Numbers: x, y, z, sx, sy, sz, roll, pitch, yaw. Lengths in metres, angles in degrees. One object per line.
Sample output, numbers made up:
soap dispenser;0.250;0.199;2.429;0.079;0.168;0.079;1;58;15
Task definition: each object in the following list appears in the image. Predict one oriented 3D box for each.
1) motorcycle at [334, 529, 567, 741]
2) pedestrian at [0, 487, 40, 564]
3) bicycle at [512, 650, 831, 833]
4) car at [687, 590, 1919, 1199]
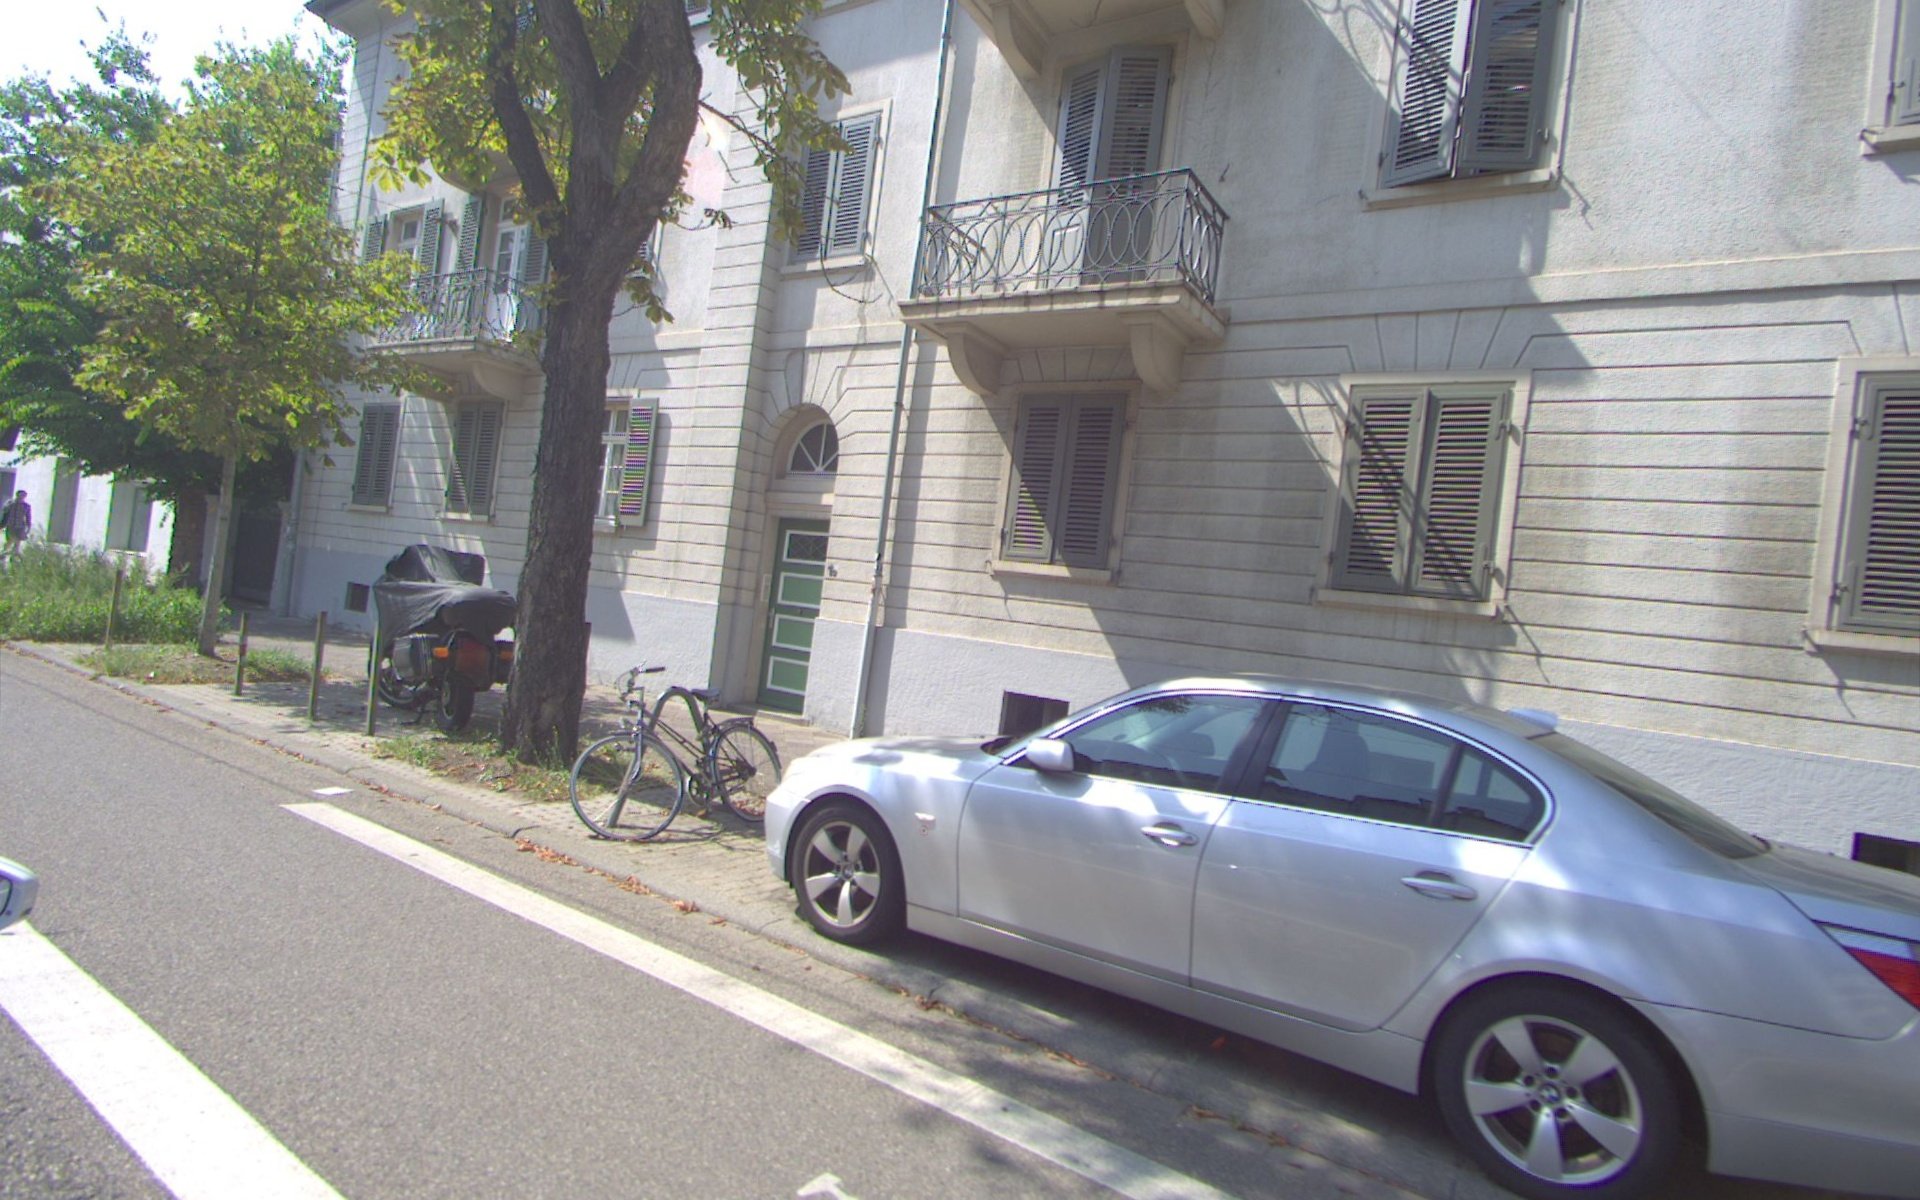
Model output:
motorcycle;-4.536;0.254;8.846;2.378;1.572;0.884;6;-1;42
pedestrian;-23.059;-1.816;24.500;0.570;1.753;0.692;7;0;35
bicycle;-1.828;0.909;6.687;0.710;0.963;1.924;6;-2;36
car;1.182;0.978;4.452;4.672;1.468;1.785;7;-1;31
